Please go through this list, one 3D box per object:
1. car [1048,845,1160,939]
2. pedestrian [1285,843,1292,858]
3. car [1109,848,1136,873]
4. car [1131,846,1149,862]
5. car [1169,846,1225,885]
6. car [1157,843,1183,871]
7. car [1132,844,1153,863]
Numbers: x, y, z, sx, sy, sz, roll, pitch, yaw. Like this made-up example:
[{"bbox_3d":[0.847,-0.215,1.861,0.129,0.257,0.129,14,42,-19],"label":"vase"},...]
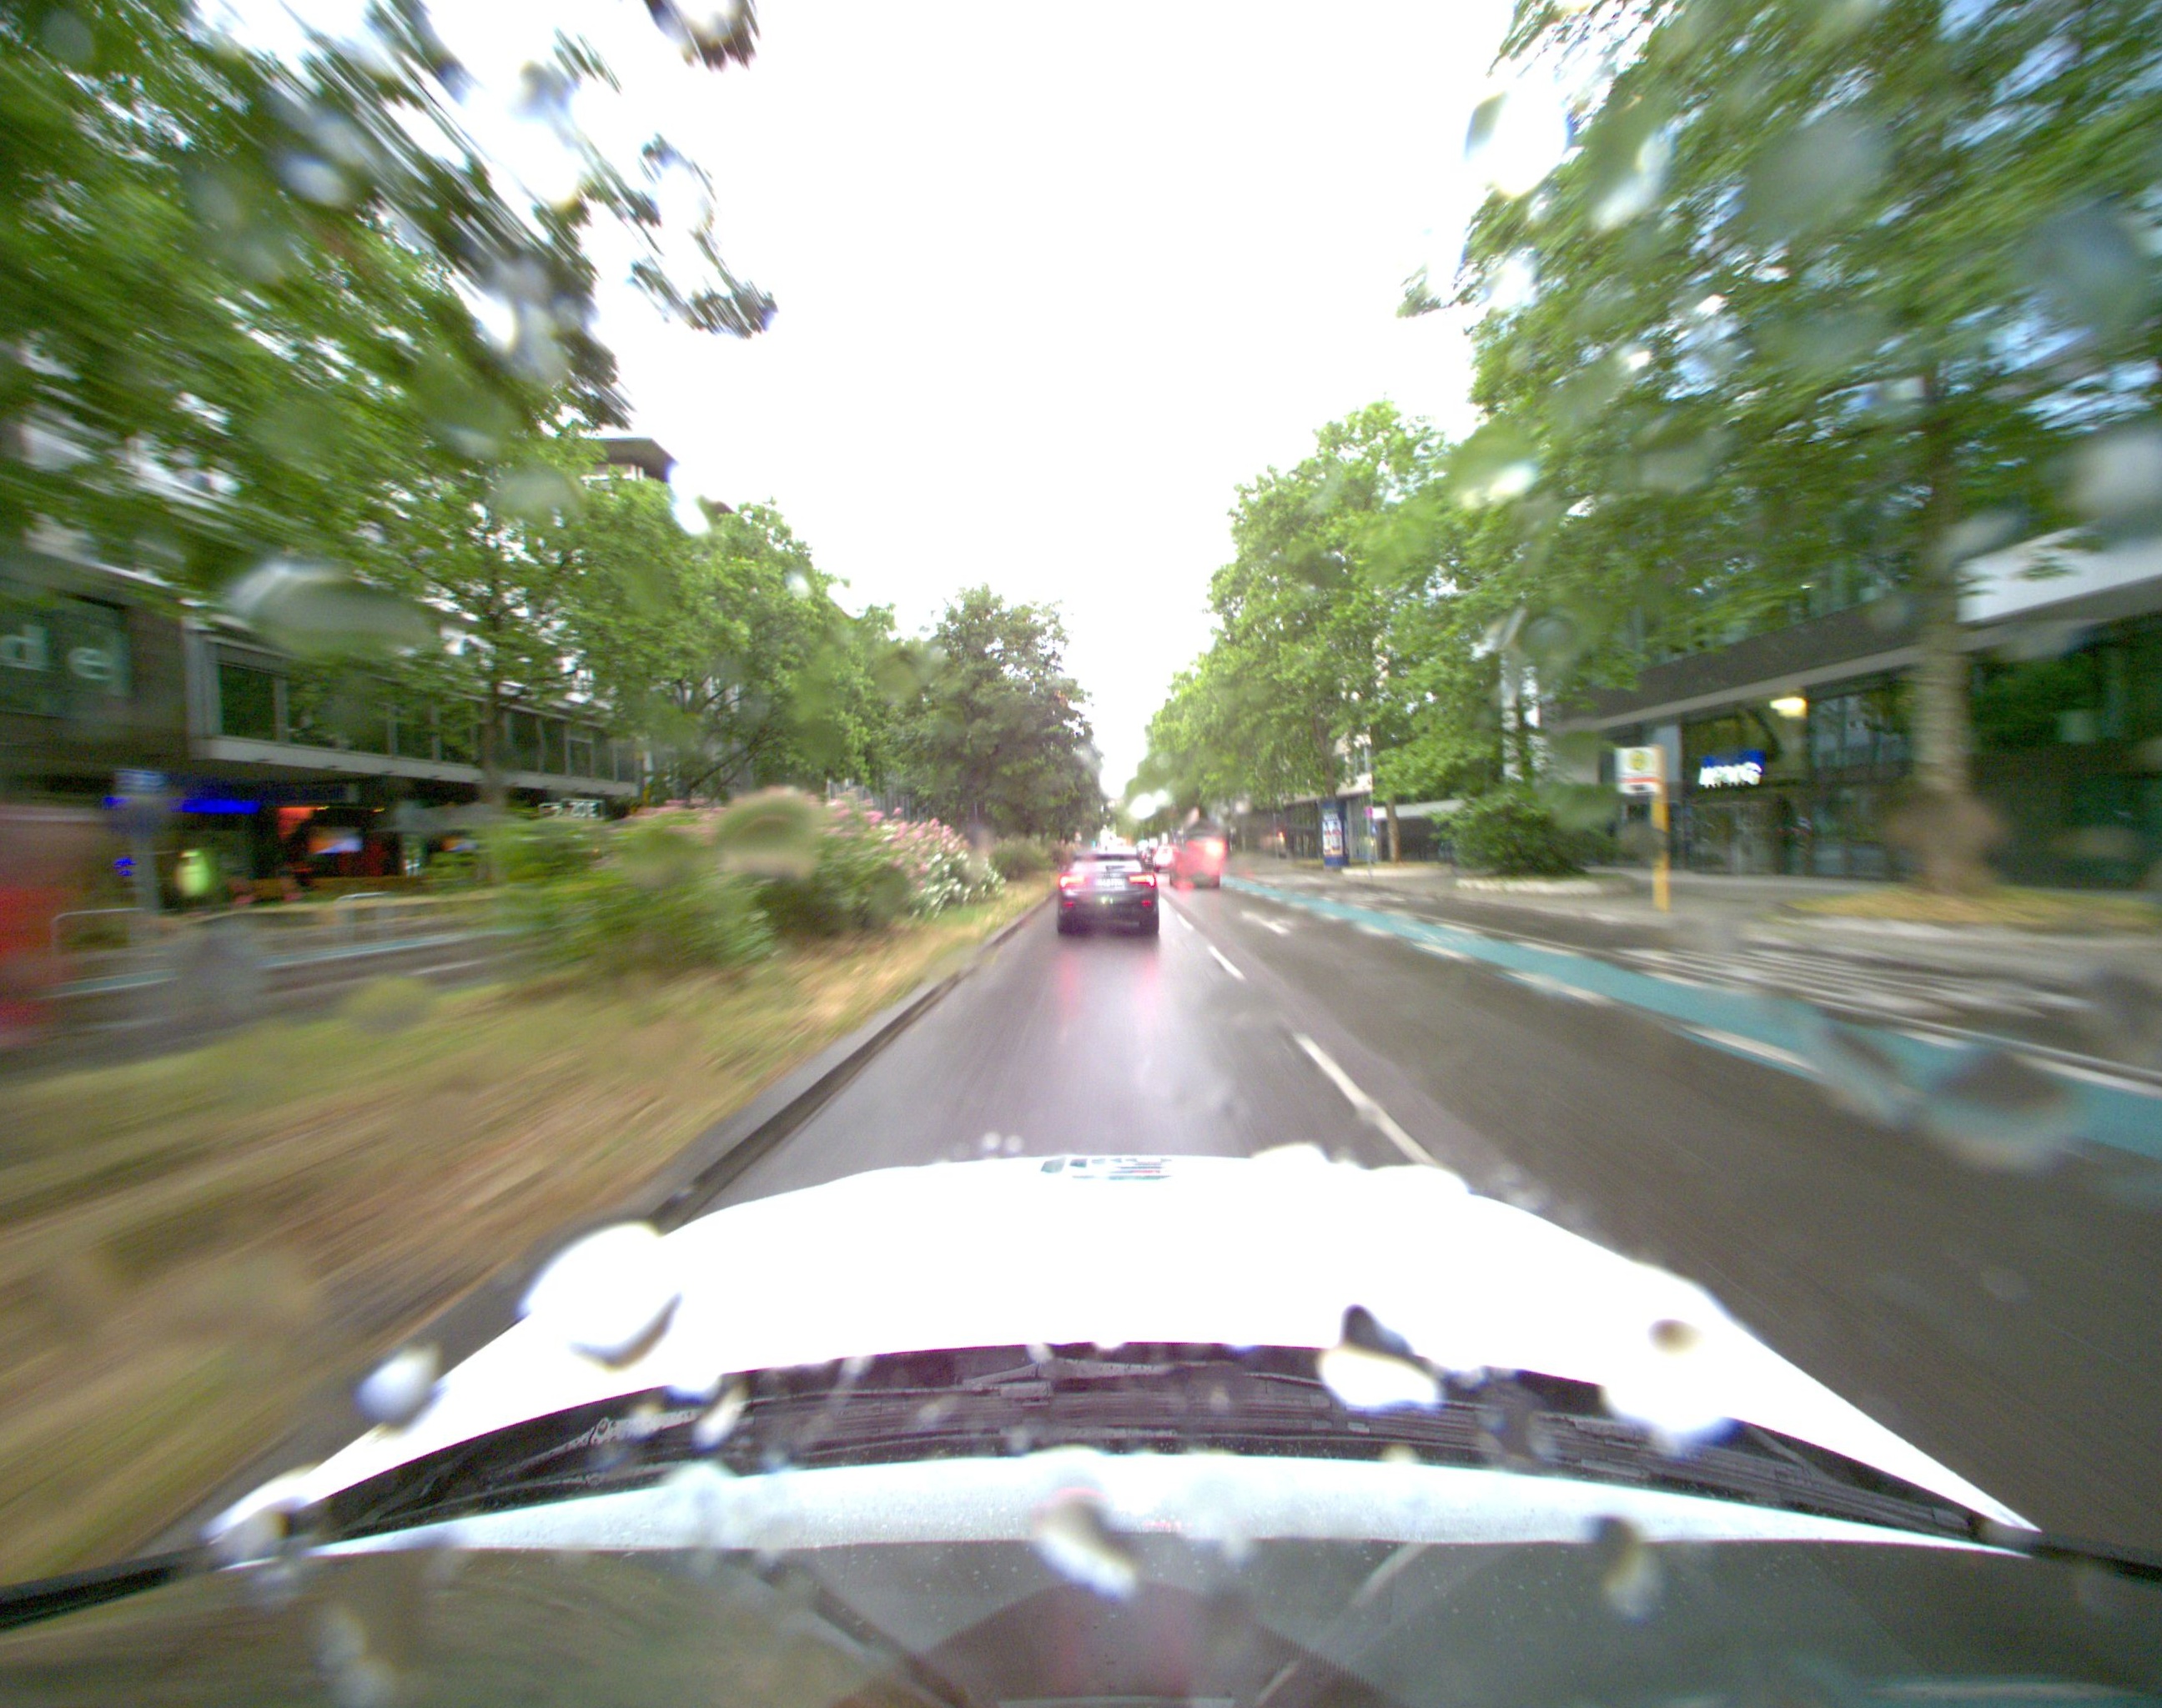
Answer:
[{"bbox_3d":[0.528,0.618,15.967,1.855,1.532,4.531,-1,1,3],"label":"car"},{"bbox_3d":[24.414,-0.430,95.916,0.648,1.815,0.656,-1,0,1],"label":"pedestrian"},{"bbox_3d":[2.778,0.423,54.790,1.715,1.577,3.964,-2,1,2],"label":"car"},{"bbox_3d":[6.944,-0.049,95.887,1.986,1.749,4.003,-2,1,2],"label":"car"},{"bbox_3d":[4.584,0.421,32.719,1.758,1.412,4.002,-2,1,2],"label":"car"},{"bbox_3d":[5.632,0.176,51.656,1.427,1.685,2.981,-2,1,2],"label":"car"},{"bbox_3d":[6.044,-0.082,80.350,1.815,1.749,4.003,-2,1,2],"label":"car"}]
